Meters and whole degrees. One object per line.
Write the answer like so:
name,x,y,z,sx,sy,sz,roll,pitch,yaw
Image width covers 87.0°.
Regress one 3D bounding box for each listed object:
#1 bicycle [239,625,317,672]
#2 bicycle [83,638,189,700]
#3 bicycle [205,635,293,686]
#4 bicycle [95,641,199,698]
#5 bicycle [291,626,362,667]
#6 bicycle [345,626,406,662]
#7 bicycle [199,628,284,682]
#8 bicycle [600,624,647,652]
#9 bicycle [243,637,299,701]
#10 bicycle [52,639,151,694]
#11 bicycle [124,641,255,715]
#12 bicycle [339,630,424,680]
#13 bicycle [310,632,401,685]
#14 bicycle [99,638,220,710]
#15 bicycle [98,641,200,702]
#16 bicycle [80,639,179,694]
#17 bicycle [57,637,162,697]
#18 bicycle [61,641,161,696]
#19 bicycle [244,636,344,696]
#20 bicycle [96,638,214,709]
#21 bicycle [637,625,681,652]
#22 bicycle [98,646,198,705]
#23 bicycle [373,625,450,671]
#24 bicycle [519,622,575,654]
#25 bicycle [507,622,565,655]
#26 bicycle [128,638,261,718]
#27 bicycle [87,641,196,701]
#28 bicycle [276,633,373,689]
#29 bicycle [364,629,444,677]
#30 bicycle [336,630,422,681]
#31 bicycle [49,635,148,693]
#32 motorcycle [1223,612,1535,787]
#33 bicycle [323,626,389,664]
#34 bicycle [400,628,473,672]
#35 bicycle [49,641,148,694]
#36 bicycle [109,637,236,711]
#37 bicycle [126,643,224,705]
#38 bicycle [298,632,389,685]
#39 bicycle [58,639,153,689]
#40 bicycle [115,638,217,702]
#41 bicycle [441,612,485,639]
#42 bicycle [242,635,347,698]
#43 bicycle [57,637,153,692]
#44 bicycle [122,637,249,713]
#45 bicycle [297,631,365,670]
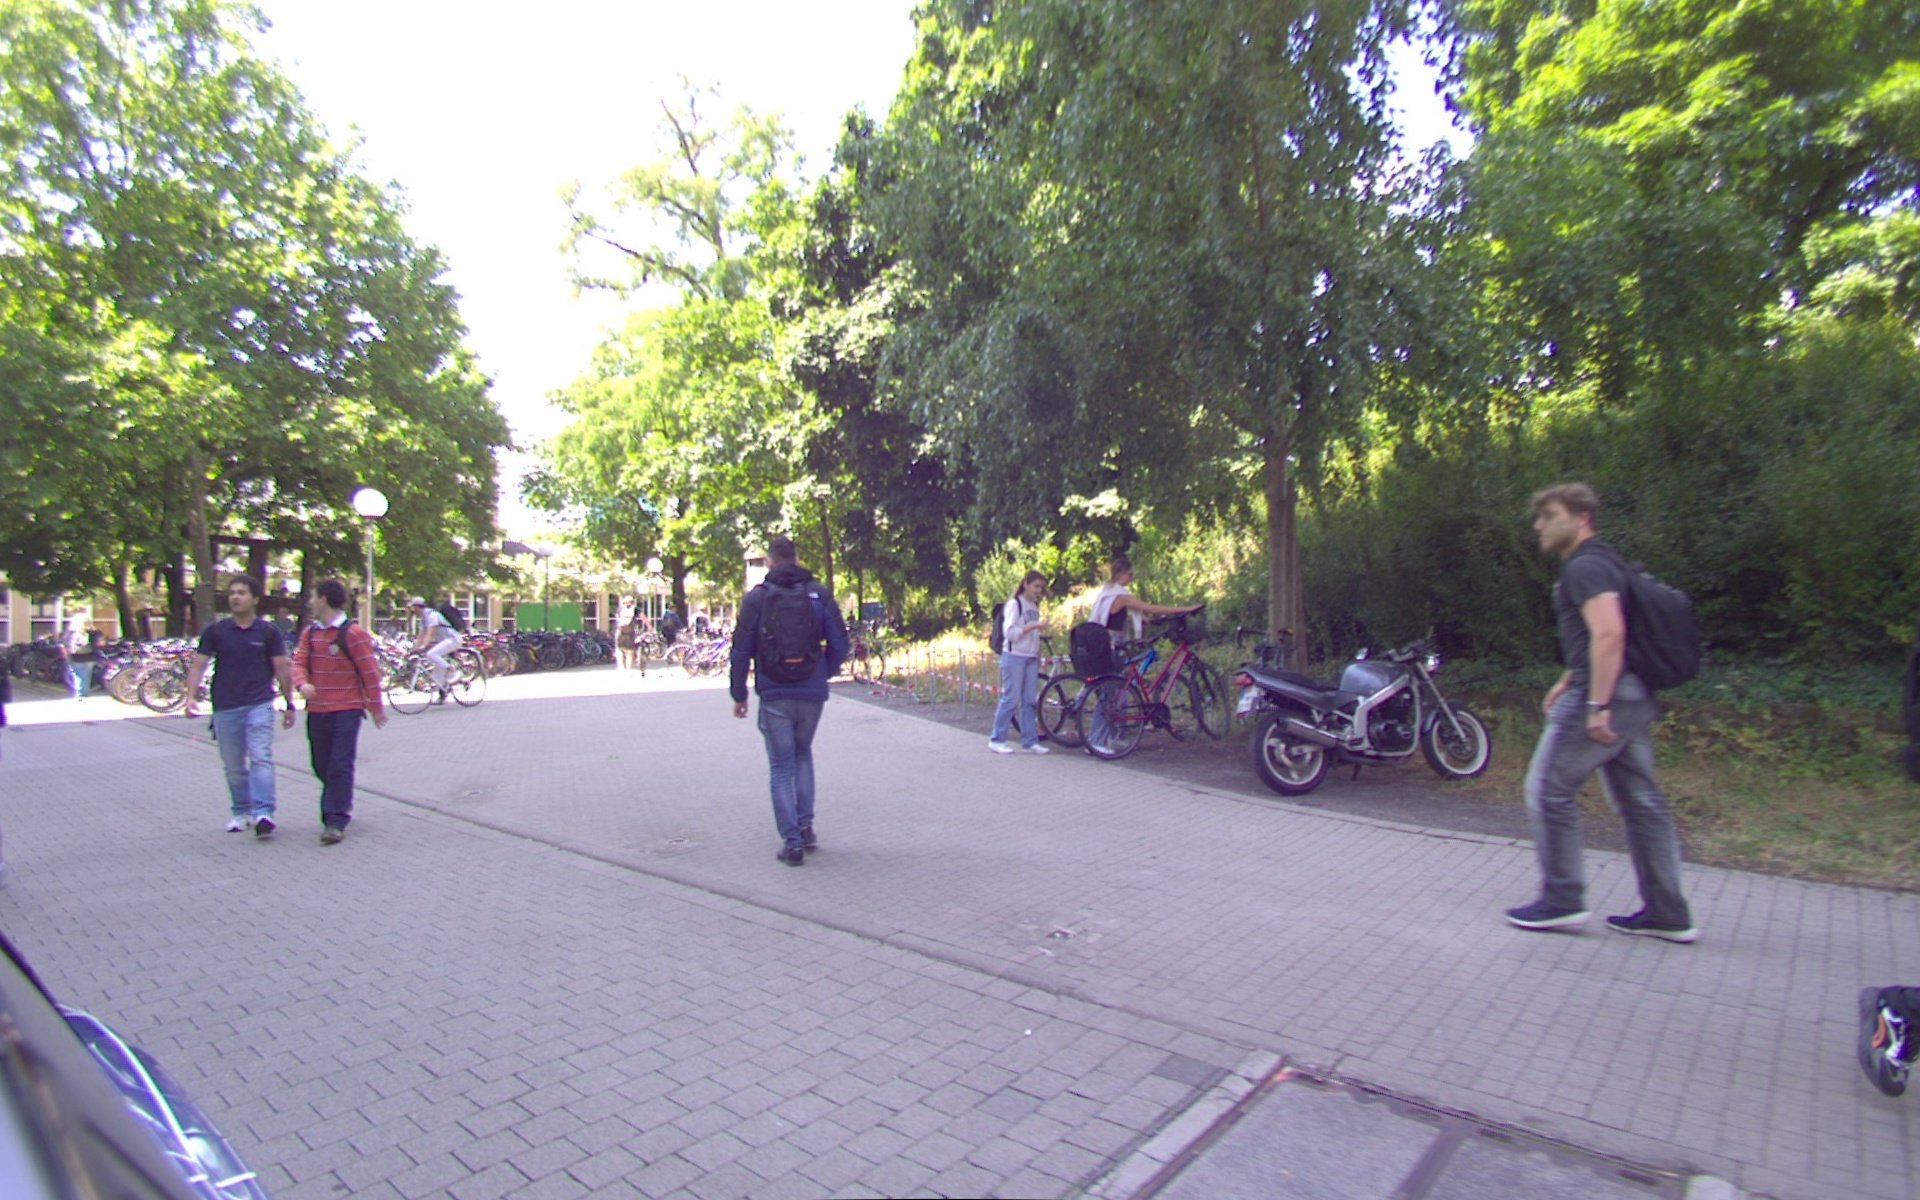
bicycle,-18.991,1.346,28.208,1.671,1.208,0.577,-2,0,-13
bicycle,-17.714,1.455,21.791,0.472,1.196,1.682,-2,0,30
bicycle,-17.373,1.468,24.755,0.501,1.116,1.682,-2,0,30
bicycle,-17.939,1.514,22.373,0.563,1.116,1.682,-2,0,30
bicycle,-18.698,1.362,29.878,1.671,1.116,0.504,-2,0,-13
bicycle,-19.297,1.448,33.433,1.672,1.116,0.504,-2,0,-9
bicycle,-18.102,1.364,25.534,0.501,1.229,1.682,-2,0,30
bicycle,-14.218,1.597,42.785,1.835,1.091,0.473,-2,0,4
bicycle,-12.639,1.246,18.557,1.700,1.091,0.501,-2,0,45
bicycle,-19.927,1.521,23.529,0.472,1.154,1.683,-2,0,29
bicycle,-12.990,1.284,17.115,0.473,1.099,1.679,-2,0,35
bicycle,-13.830,1.298,24.225,1.671,1.091,0.475,-2,0,-13
bicycle,-13.556,1.298,22.728,1.670,1.091,0.475,-2,0,-17
bicycle,-14.720,1.339,18.664,0.472,1.177,1.683,-2,0,28
bicycle,-16.765,1.453,20.962,0.469,1.116,1.692,-2,0,14
bicycle,-19.064,1.511,23.257,0.472,1.116,1.682,-2,0,30
bicycle,-18.906,1.467,22.526,0.535,1.207,1.681,-2,0,33
bicycle,-19.517,1.552,23.302,0.472,1.116,1.683,-2,0,29
bicycle,-13.636,1.327,20.745,1.672,1.091,0.475,-2,0,-36
bicycle,-15.108,1.358,19.045,0.471,1.177,1.686,-2,0,24
bicycle,-13.486,1.718,45.327,1.835,1.091,0.473,-2,0,4
bicycle,-15.969,1.463,19.950,0.468,1.026,1.696,-2,0,6
bicycle,-14.328,1.244,26.450,1.671,1.091,0.475,-2,0,-13
bicycle,-14.833,1.359,36.342,1.835,1.091,0.473,-2,0,4
bicycle,-14.999,1.360,35.795,1.835,1.091,0.473,-2,0,4
bicycle,-12.656,1.259,16.786,0.472,1.167,1.681,-2,0,32
bicycle,-17.312,1.486,21.447,0.580,1.116,1.682,-2,0,30
bicycle,-13.642,1.300,21.754,1.671,1.091,0.475,-2,0,-13
bicycle,-13.933,1.319,25.404,1.671,1.091,0.475,-2,0,-13
bicycle,-13.632,1.287,23.780,1.671,1.091,0.475,-2,0,-13
bicycle,-20.624,1.510,24.258,0.495,1.245,1.721,-2,0,34
motorcycle,2.935,0.671,7.141,1.995,1.055,0.475,-3,0,-6
bicycle,-19.209,1.437,32.216,1.672,1.116,0.632,-2,0,-9
bicycle,-14.235,1.351,27.527,1.674,1.091,0.474,-2,0,-4
bicycle,-20.307,1.575,23.890,0.495,1.116,1.682,-2,0,30
bicycle,-14.152,1.310,18.236,1.752,1.177,0.475,-2,0,-36
bicycle,-15.465,1.432,19.996,0.468,1.070,1.696,-2,0,6
bicycle,-14.048,1.319,23.094,1.670,1.091,0.475,-2,0,-17
bicycle,-21.353,1.583,25.325,0.495,1.116,1.724,-2,0,28
bicycle,-16.319,1.417,20.849,0.469,1.166,1.692,-2,0,14
bicycle,-23.887,1.221,48.690,0.798,1.180,1.878,-4,0,14
bicycle,-13.022,1.281,19.818,1.672,1.091,0.475,-2,0,-36
bicycle,-20.916,1.558,24.776,0.497,1.187,1.717,-2,0,40
bicycle,-13.500,1.287,17.690,0.473,1.177,1.679,-2,0,35
bicycle,-19.289,1.548,31.063,1.672,1.116,0.504,-2,0,-9
